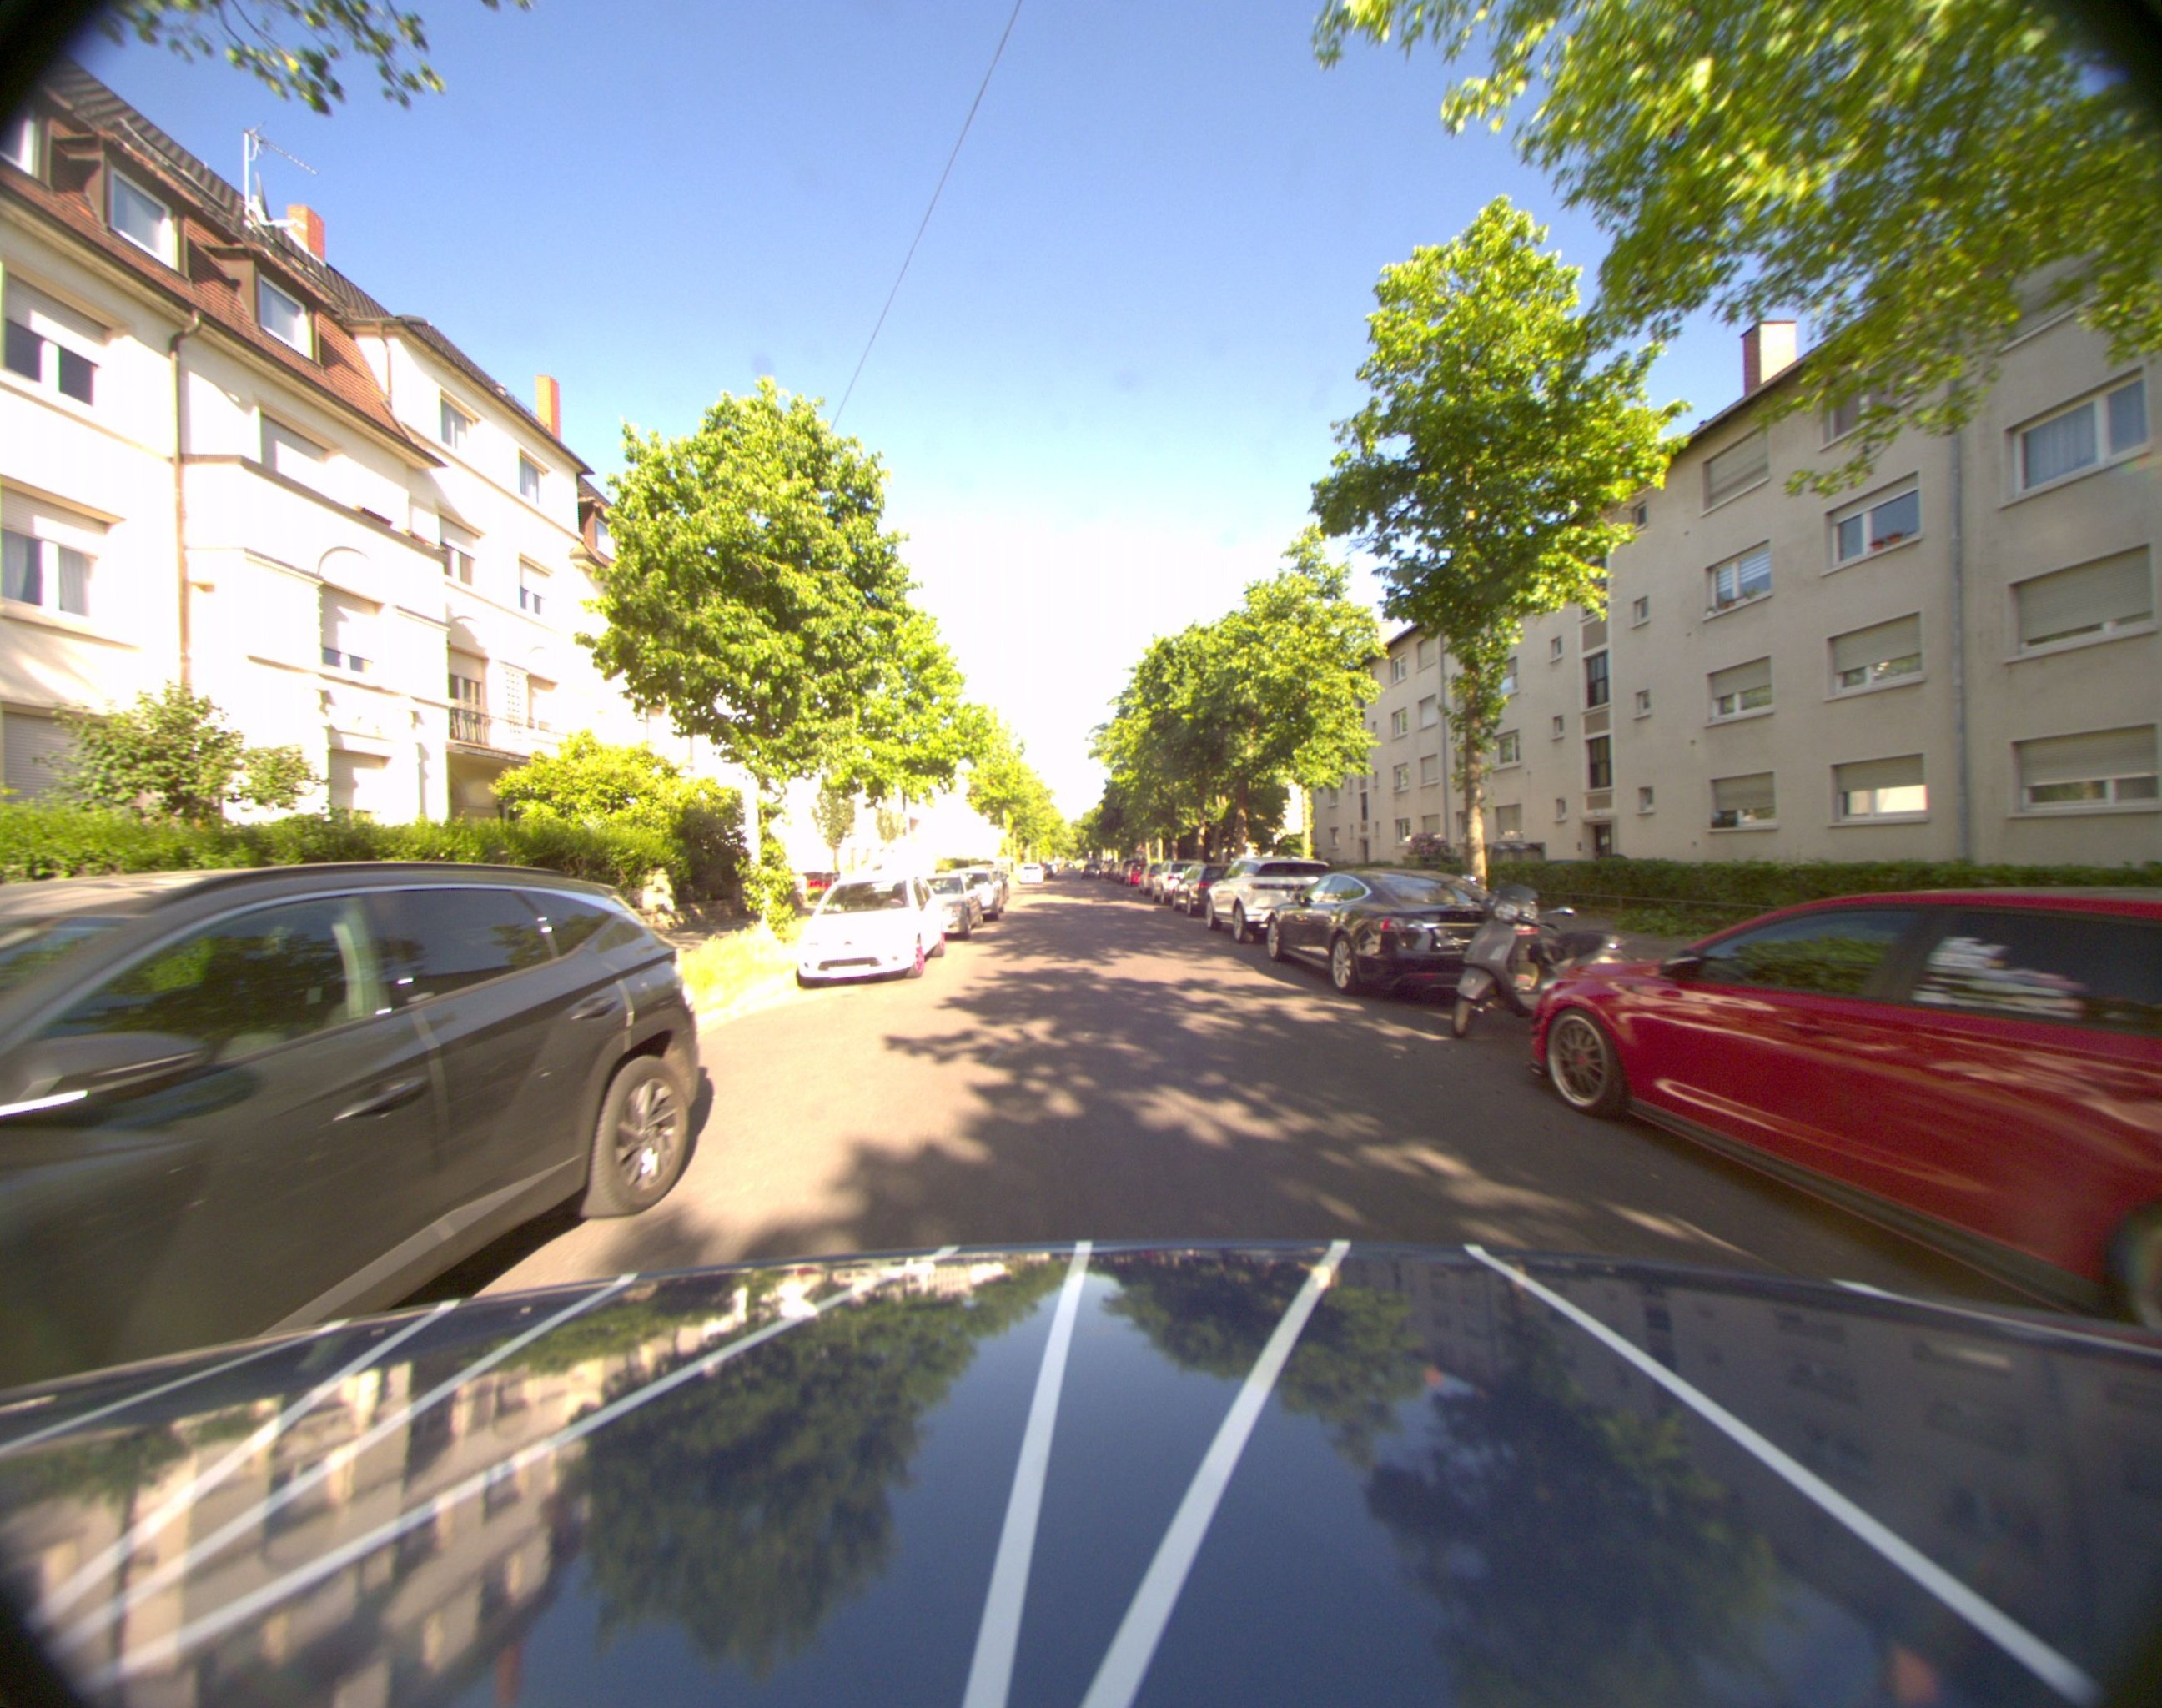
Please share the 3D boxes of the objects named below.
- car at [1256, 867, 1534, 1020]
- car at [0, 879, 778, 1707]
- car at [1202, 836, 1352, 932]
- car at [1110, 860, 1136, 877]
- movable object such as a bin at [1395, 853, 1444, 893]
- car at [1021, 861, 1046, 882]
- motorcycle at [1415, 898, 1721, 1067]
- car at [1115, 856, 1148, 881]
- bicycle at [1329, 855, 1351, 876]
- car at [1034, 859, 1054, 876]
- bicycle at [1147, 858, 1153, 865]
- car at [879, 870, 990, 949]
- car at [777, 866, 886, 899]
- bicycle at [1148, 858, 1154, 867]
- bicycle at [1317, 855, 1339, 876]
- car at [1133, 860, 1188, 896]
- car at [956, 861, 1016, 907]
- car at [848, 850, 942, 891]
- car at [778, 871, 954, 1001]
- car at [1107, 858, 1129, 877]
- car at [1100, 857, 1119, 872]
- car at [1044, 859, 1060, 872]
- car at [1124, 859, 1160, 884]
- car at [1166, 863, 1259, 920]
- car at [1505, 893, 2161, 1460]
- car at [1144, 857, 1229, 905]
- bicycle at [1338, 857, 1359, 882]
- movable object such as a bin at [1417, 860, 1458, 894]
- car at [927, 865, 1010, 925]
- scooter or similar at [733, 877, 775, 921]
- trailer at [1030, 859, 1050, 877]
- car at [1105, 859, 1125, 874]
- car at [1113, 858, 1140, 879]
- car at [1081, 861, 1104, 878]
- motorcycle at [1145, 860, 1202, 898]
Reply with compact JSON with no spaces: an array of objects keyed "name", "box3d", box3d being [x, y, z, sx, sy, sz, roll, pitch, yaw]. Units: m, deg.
[{"name":"car","box3d":[3.784,0.971,10.180,1.733,1.469,4.619,2,0,0]},{"name":"car","box3d":[-2.991,1.018,2.334,1.930,1.642,5.095,-3,0,1]},{"name":"car","box3d":[3.670,0.505,15.076,1.733,1.608,4.365,0,0,-2]},{"name":"car","box3d":[3.453,1.185,63.493,1.790,1.344,4.481,-1,0,-2]},{"name":"movable object such as a bin","box3d":[11.423,0.624,25.659,0.932,1.316,1.378,-1,0,-6]},{"name":"car","box3d":[-3.609,1.290,58.339,1.737,1.478,4.008,-2,0,-3]},{"name":"motorcycle","box3d":[4.168,1.043,6.558,2.293,1.263,0.807,0,0,-11]},{"name":"car","box3d":[3.452,0.974,52.827,1.772,1.678,4.813,-1,0,-2]},{"name":"bicycle","box3d":[15.127,0.652,44.441,0.687,1.194,1.912,-1,0,1]},{"name":"car","box3d":[-3.728,1.363,77.979,1.797,1.633,4.818,-4,0,-1]},{"name":"bicycle","box3d":[9.778,1.028,107.942,0.596,0.911,1.903,-1,0,-2]},{"name":"car","box3d":[-3.218,1.164,17.640,1.715,1.402,4.861,-3,0,-2]},{"name":"car","box3d":[-12.255,1.389,37.406,4.725,1.461,1.955,-1,0,14]},{"name":"bicycle","box3d":[9.384,1.092,101.851,0.596,1.182,2.260,-1,0,-2]},{"name":"bicycle","box3d":[14.418,0.680,44.452,0.687,1.194,1.912,-1,0,1]},{"name":"car","box3d":[3.597,1.054,34.997,2.048,1.515,4.606,-1,0,0]},{"name":"car","box3d":[-3.715,1.124,30.407,1.901,1.515,4.965,-2,1,-2]},{"name":"car","box3d":[-11.068,0.955,45.234,5.063,2.292,2.230,-1,0,-24]},{"name":"car","box3d":[-3.131,1.109,11.914,1.658,1.523,3.968,-4,0,-2]},{"name":"car","box3d":[3.300,1.189,68.705,1.710,1.568,4.481,-1,0,0]},{"name":"car","box3d":[3.202,1.176,85.796,1.846,1.647,5.087,-1,0,-1]},{"name":"car","box3d":[-3.806,1.466,98.246,1.786,1.509,4.685,-2,0,-5]},{"name":"car","box3d":[3.687,1.038,46.570,1.861,1.461,4.182,-1,0,0]},{"name":"car","box3d":[3.683,0.994,22.085,1.733,1.438,4.820,1,0,-1]},{"name":"car","box3d":[3.800,0.955,3.054,1.784,1.371,4.262,0,0,0]},{"name":"car","box3d":[3.670,0.897,27.269,2.070,1.515,4.720,-1,0,-4]},{"name":"bicycle","box3d":[14.281,0.819,40.626,0.399,1.281,1.914,-1,0,-1]},{"name":"movable object such as a bin","box3d":[11.550,0.733,24.611,0.932,1.086,0.754,-1,0,-6]},{"name":"car","box3d":[-3.206,1.130,22.629,1.826,1.461,4.908,-3,0,-2]},{"name":"scooter or similar","box3d":[-9.216,1.243,21.443,0.402,1.178,1.207,-1,-1,14]},{"name":"trailer","box3d":[-3.972,1.367,73.258,1.578,1.569,3.192,-4,0,1]},{"name":"car","box3d":[3.334,1.223,75.627,1.658,1.496,4.068,-1,0,-2]},{"name":"car","box3d":[3.448,1.090,58.064,1.773,1.522,4.419,-1,0,0]},{"name":"car","box3d":[1.024,1.360,67.483,1.814,1.437,4.365,0,0,-2]},{"name":"motorcycle","box3d":[3.775,1.012,31.248,0.991,1.495,2.227,-1,0,-41]}]
